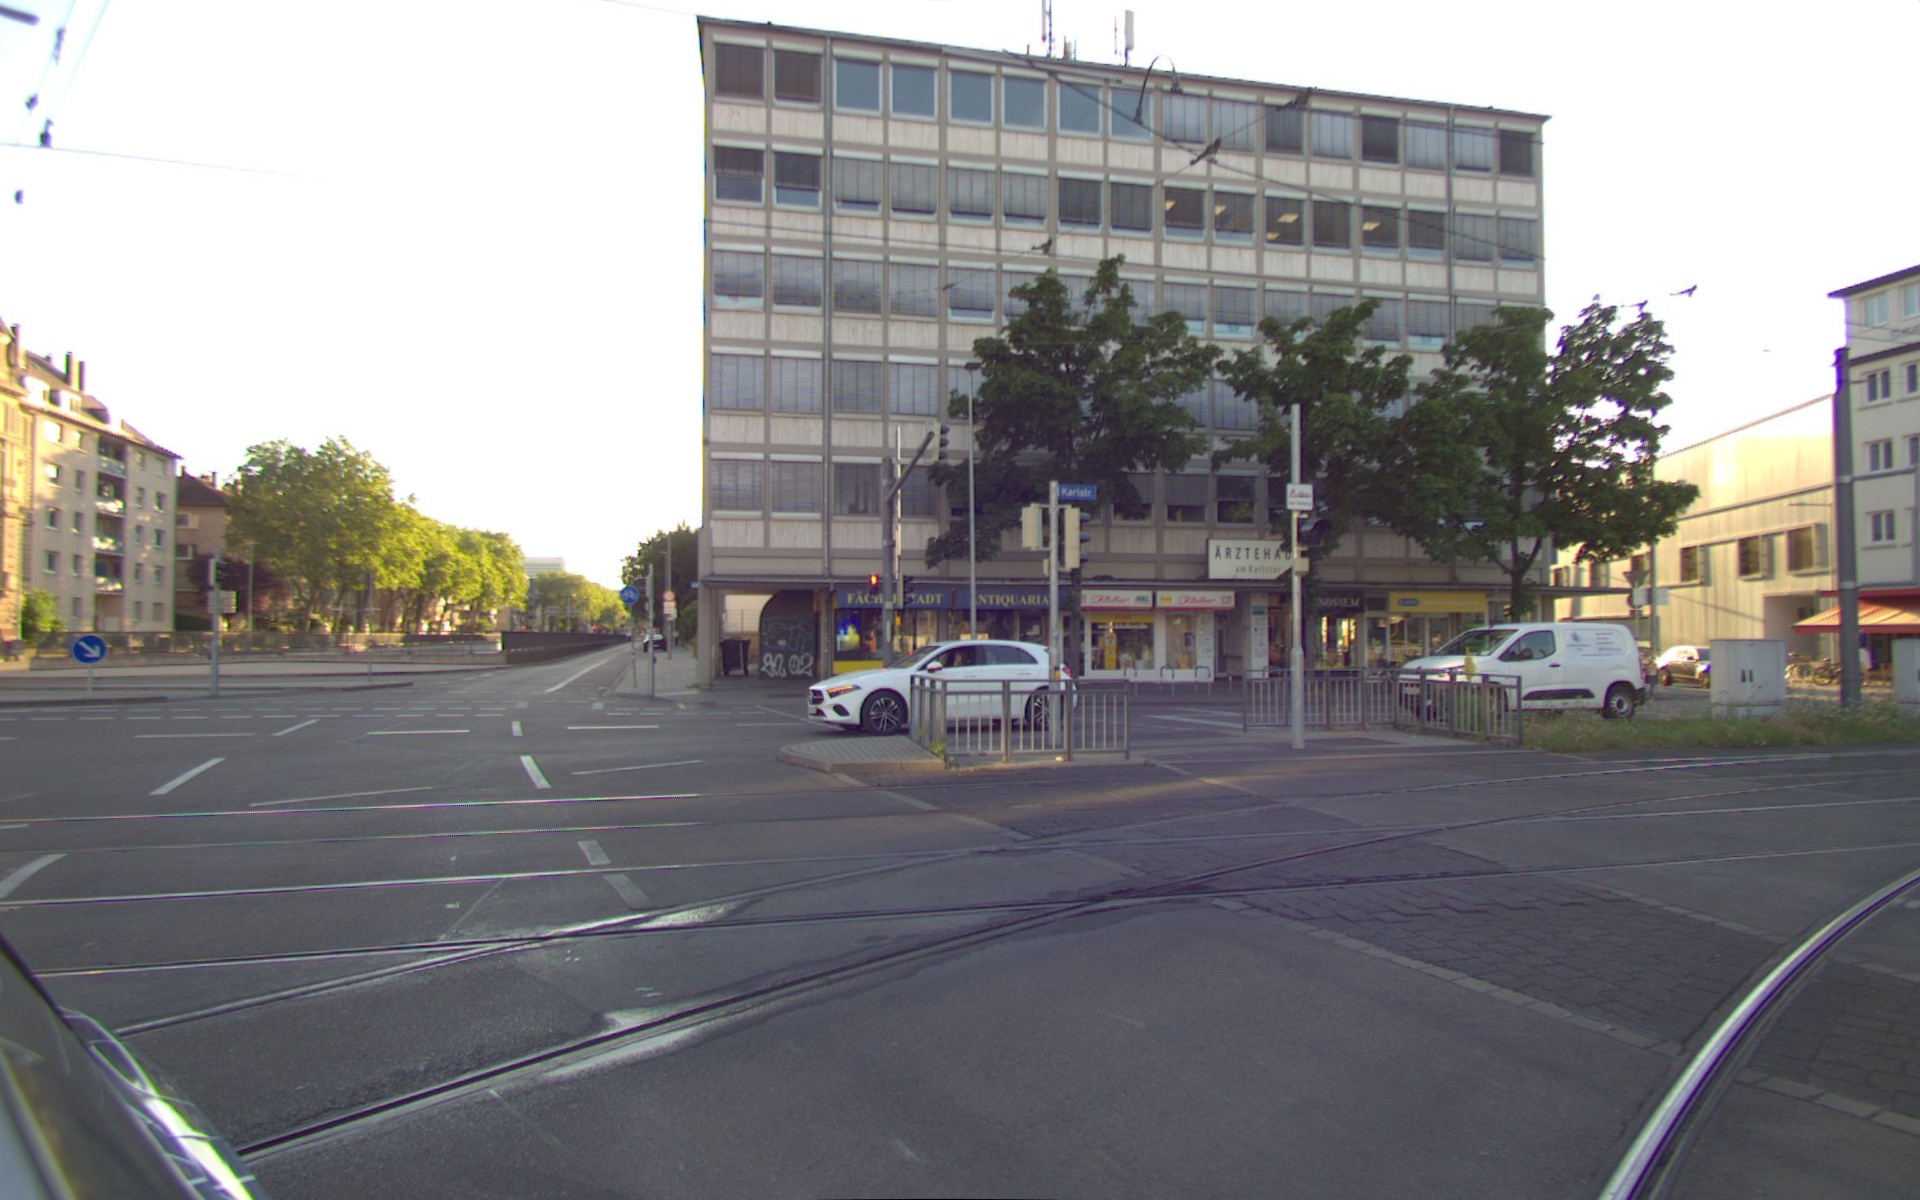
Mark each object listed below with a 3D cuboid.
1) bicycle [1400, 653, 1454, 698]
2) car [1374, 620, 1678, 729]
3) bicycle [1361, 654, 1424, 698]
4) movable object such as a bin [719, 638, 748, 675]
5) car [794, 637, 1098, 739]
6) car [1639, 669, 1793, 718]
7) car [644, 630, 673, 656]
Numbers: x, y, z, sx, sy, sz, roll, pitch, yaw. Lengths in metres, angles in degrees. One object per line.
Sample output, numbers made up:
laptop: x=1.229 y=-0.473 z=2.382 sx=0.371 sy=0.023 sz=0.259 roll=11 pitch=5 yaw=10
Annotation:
bicycle: x=13.368 y=2.148 z=29.004 sx=0.529 sy=1.194 sz=1.641 roll=1 pitch=-1 yaw=-12
car: x=10.444 y=1.332 z=18.802 sx=4.794 sy=1.852 sz=2.006 roll=1 pitch=-2 yaw=-13
bicycle: x=12.382 y=2.159 z=29.029 sx=0.655 sy=1.149 sz=1.751 roll=1 pitch=-1 yaw=-19
movable object such as a bin: x=-8.326 y=2.069 z=37.209 sx=0.945 sy=1.337 sz=1.417 roll=0 pitch=-2 yaw=-9
car: x=-0.222 y=1.393 z=16.165 sx=4.484 sy=1.460 sz=1.822 roll=2 pitch=-5 yaw=-22
car: x=25.936 y=3.174 z=34.936 sx=1.711 sy=1.447 sz=4.376 roll=0 pitch=-2 yaw=-5
car: x=-24.496 y=3.484 z=82.327 sx=1.967 sy=2.029 sz=4.272 roll=1 pitch=-2 yaw=-13
